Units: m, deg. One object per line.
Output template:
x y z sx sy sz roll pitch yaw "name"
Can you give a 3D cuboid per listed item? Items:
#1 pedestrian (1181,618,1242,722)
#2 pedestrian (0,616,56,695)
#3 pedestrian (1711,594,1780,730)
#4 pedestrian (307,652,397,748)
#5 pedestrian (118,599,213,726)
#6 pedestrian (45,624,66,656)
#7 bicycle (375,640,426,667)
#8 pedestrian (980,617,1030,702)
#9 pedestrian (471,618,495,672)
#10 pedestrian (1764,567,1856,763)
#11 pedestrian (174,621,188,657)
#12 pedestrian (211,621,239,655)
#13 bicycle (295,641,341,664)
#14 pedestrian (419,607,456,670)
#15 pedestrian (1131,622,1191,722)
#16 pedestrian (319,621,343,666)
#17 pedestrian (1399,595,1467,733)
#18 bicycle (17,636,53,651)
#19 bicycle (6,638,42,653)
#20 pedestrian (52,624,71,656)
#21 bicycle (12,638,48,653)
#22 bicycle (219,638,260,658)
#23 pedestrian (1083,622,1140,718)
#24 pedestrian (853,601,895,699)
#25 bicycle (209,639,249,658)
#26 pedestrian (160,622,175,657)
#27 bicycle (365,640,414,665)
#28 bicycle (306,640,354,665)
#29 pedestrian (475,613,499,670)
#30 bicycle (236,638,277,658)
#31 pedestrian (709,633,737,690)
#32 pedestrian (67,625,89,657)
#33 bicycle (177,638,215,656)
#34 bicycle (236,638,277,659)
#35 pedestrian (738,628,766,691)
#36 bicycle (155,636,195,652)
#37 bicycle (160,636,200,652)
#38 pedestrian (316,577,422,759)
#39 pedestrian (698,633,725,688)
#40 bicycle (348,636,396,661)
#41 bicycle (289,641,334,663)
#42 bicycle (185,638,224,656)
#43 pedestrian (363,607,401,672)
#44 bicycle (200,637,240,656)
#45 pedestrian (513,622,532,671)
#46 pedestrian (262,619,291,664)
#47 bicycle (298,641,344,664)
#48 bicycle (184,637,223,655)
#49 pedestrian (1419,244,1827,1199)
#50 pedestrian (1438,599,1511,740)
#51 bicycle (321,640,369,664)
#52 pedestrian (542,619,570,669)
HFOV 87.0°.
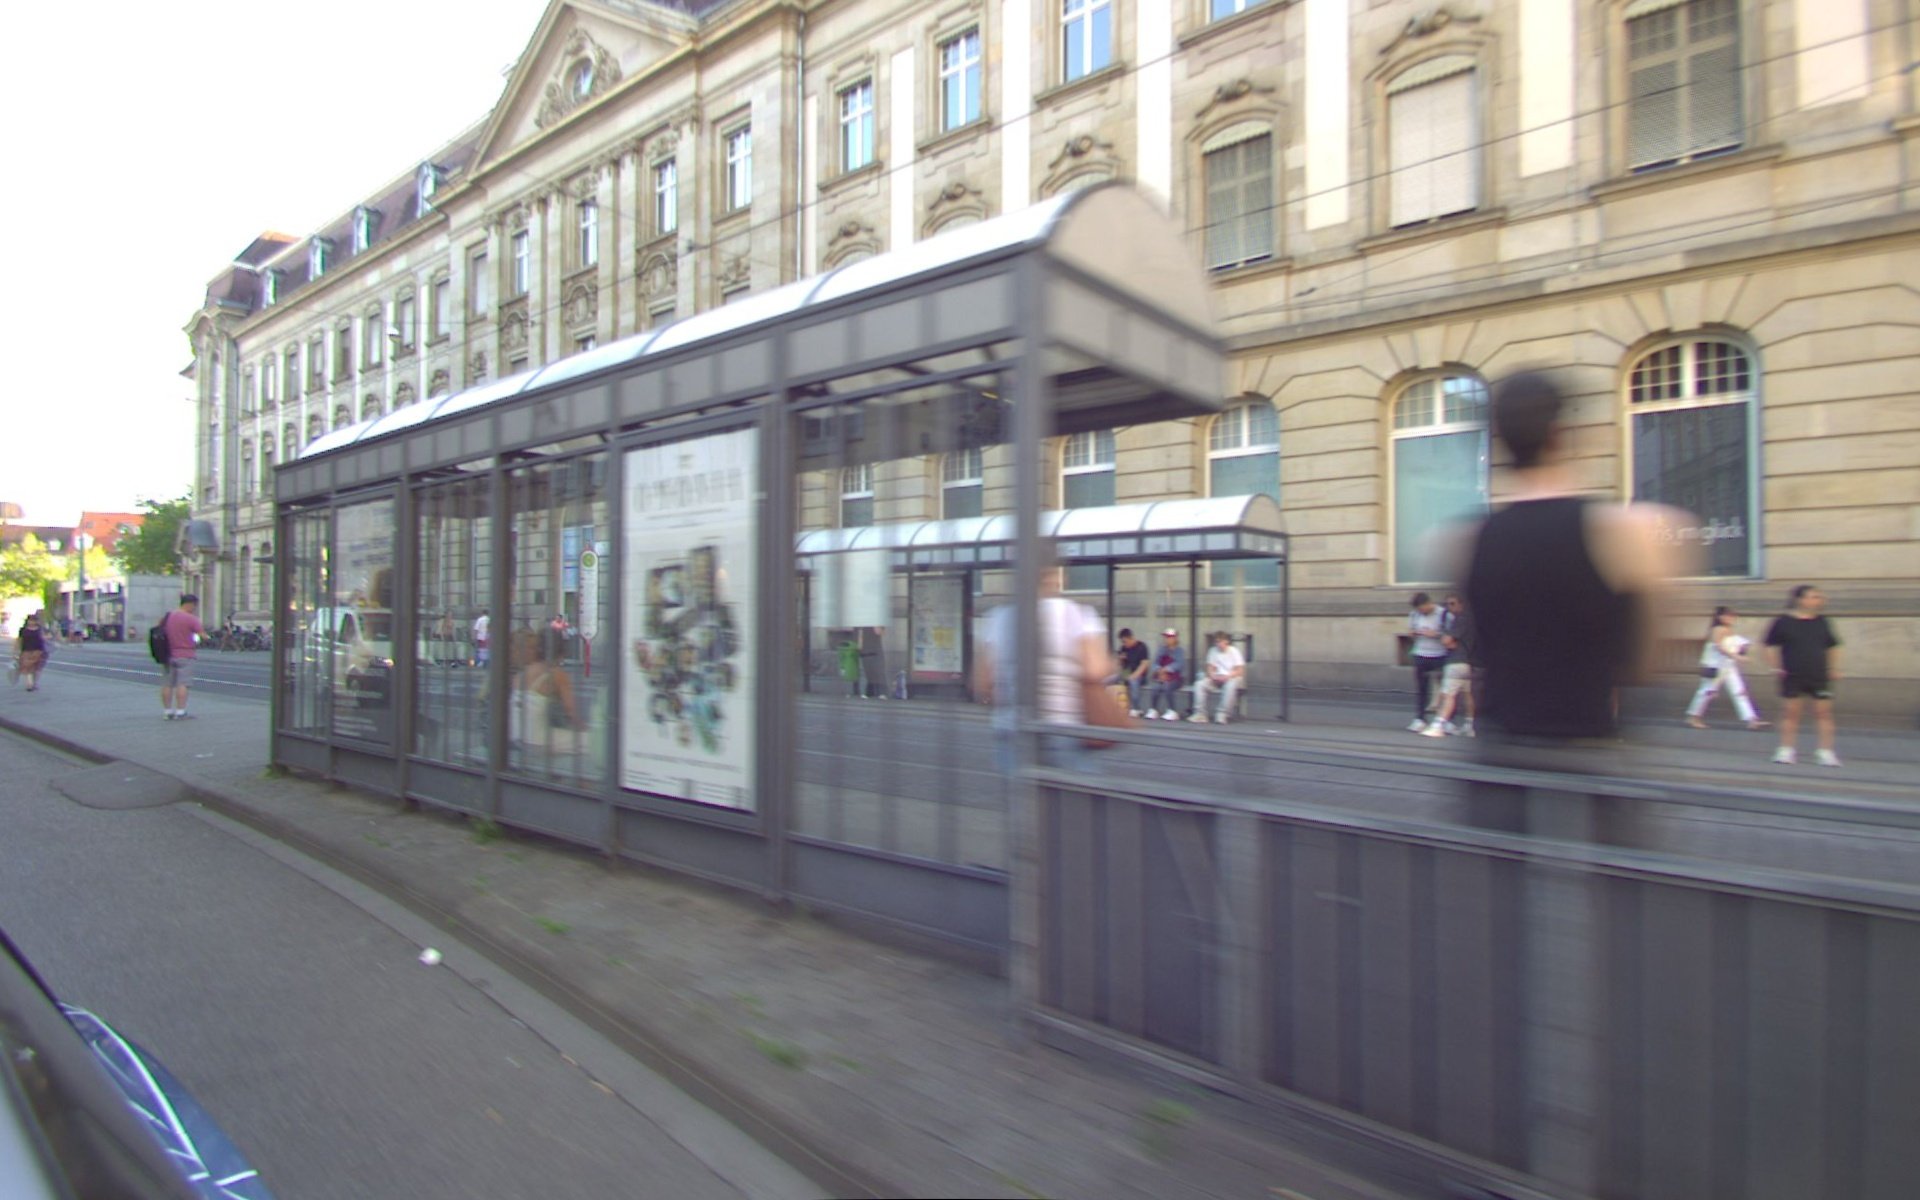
3.357 0.917 13.511 0.638 1.337 0.512 -1 -1 43 "pedestrian"
-18.366 1.071 19.816 0.900 1.512 0.838 -2 -2 39 "pedestrian"
9.727 0.746 12.552 0.630 1.626 0.693 -1 -1 38 "pedestrian"
-6.487 1.044 10.829 0.787 0.946 0.695 0 -1 -28 "pedestrian"
-10.690 0.824 13.649 0.677 1.650 0.863 0 -1 -10 "pedestrian"
-49.914 2.219 55.830 0.593 1.750 0.643 -1 -3 30 "pedestrian"
-20.517 1.952 37.115 0.451 0.880 1.558 -1 0 44 "bicycle"
0.726 0.949 16.400 0.638 1.337 0.512 -1 -1 43 "pedestrian"
-14.720 1.378 31.220 0.562 1.654 0.471 -1 -1 42 "pedestrian"
8.038 0.597 9.591 0.559 1.790 0.464 -1 -1 31 "pedestrian"
-37.277 1.873 48.426 0.370 1.686 0.495 -1 0 -18 "pedestrian"
-33.662 1.751 46.360 0.768 1.544 0.736 -1 -1 6 "pedestrian"
-26.994 2.190 42.553 0.451 0.880 1.558 -1 0 44 "bicycle"
-14.735 1.078 28.540 0.814 1.725 0.685 -2 -2 39 "pedestrian"
2.789 0.979 14.047 0.638 1.337 0.512 -1 -1 43 "pedestrian"
-21.078 1.458 33.921 0.682 1.477 0.558 0 -2 -30 "pedestrian"
5.896 0.776 12.618 0.638 1.658 0.512 -1 -1 43 "pedestrian"
-75.445 3.567 82.536 0.692 1.168 2.104 -2 -2 40 "bicycle"
-78.152 3.781 84.514 0.692 1.168 2.104 -2 -2 40 "bicycle"
-49.073 2.195 55.273 0.669 1.750 0.484 2 -3 -35 "pedestrian"
-76.727 3.761 83.518 0.692 1.168 2.104 -2 -2 40 "bicycle"
-34.684 2.305 48.728 0.451 0.880 1.558 -1 0 44 "bicycle"
2.177 0.988 14.523 0.638 1.337 0.512 -1 -1 43 "pedestrian"
-1.497 0.861 17.617 0.510 1.663 0.640 1 -1 -29 "pedestrian"
-36.372 2.413 50.372 0.451 0.880 1.558 -1 0 44 "bicycle"
-37.779 1.879 48.243 0.370 1.643 0.495 -1 0 -17 "pedestrian"
-21.748 1.982 38.568 0.451 0.880 1.558 -1 0 44 "bicycle"
-24.983 2.076 40.146 0.451 0.880 1.558 -1 0 44 "bicycle"
-13.675 1.198 29.266 0.571 1.617 0.435 -1 -1 40 "pedestrian"
-33.700 2.293 48.501 0.451 0.880 1.558 -1 0 44 "bicycle"
-4.745 1.229 20.281 0.430 1.111 0.360 -1 -1 45 "pedestrian"
-49.030 2.269 56.268 0.677 1.750 0.670 -1 -3 26 "pedestrian"
-40.553 2.478 53.758 0.451 0.880 1.558 -1 0 44 "bicycle"
-33.275 2.285 47.884 0.451 0.880 1.558 -1 0 44 "bicycle"
-4.066 1.149 19.779 0.430 1.209 0.360 -1 -1 45 "pedestrian"
-47.455 2.656 61.225 0.634 0.875 1.818 -1 0 37 "bicycle"
-46.855 2.647 60.819 0.634 0.875 1.818 -1 0 37 "bicycle"
-5.721 0.643 9.827 0.666 1.704 0.638 0 -1 -5 "pedestrian"
-5.099 1.235 20.773 0.430 1.111 0.360 -1 -1 45 "pedestrian"
-22.902 1.887 39.447 0.451 0.880 1.558 -1 0 44 "bicycle"
-27.512 2.198 42.939 0.451 0.880 1.558 -1 0 44 "bicycle"
-39.426 2.461 52.834 0.451 0.880 1.558 -1 0 44 "bicycle"
-16.491 1.122 28.875 0.814 1.826 0.685 -2 -2 40 "pedestrian"
-37.085 2.342 50.732 0.451 0.880 1.558 -1 0 44 "bicycle"
-13.313 1.404 30.822 0.433 1.451 0.573 -1 0 -15 "pedestrian"
-24.368 1.467 36.095 0.650 1.573 0.681 0 -1 -12 "pedestrian"
-26.582 2.184 42.132 0.451 0.880 1.558 -1 0 44 "bicycle"
-38.885 2.368 52.027 0.451 0.880 1.558 -1 0 44 "bicycle"
1.276 0.315 1.981 0.593 1.780 0.408 -1 0 37 "pedestrian"
5.997 0.789 11.797 0.638 1.581 0.512 -1 -1 43 "pedestrian"
-24.227 2.035 39.910 0.451 0.880 1.558 -1 0 44 "bicycle"
-12.424 1.352 31.148 0.589 1.501 0.538 -1 0 16 "pedestrian"
